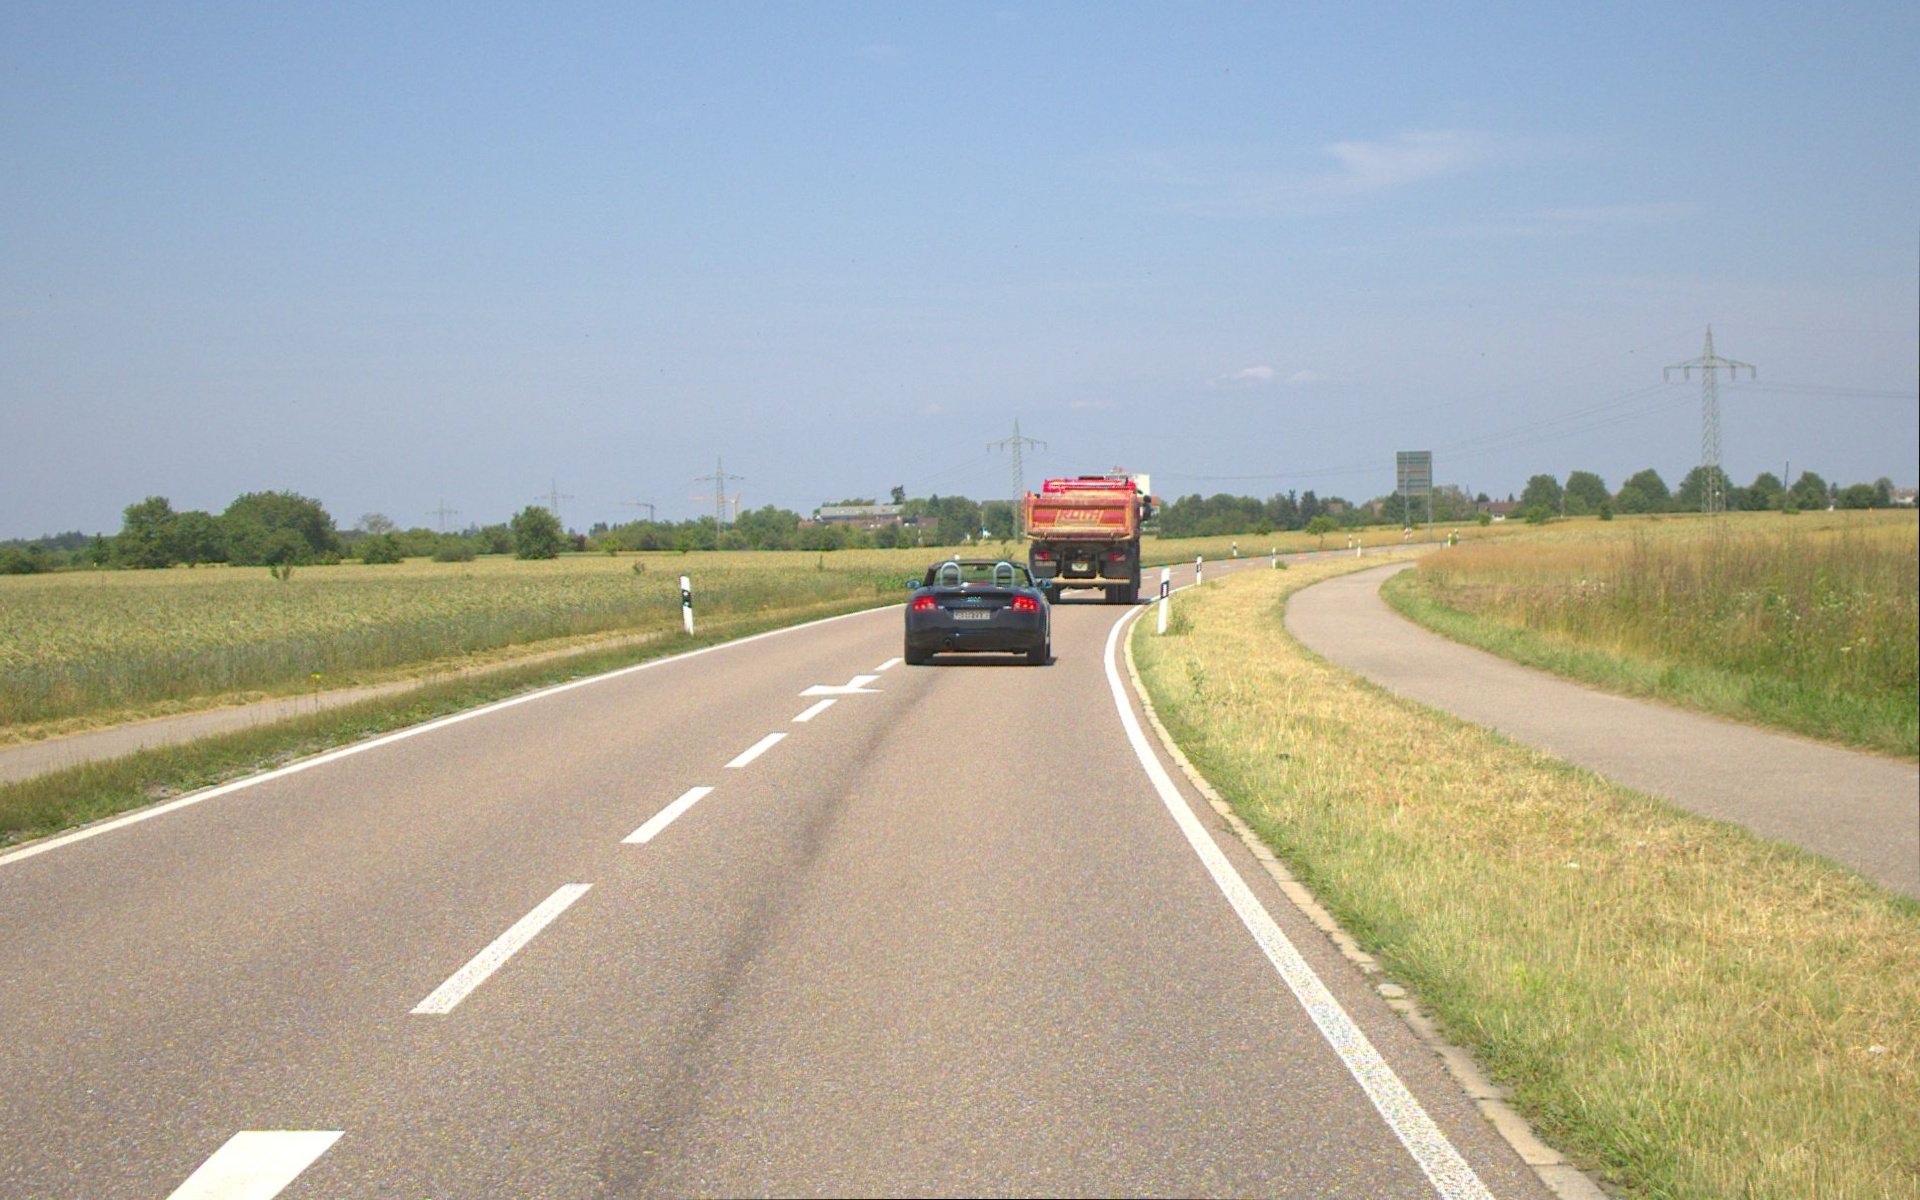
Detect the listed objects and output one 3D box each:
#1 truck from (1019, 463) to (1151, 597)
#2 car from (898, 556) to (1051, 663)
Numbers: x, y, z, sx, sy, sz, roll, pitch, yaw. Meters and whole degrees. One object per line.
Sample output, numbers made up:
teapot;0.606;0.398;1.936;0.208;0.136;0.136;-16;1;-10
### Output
truck;3.088;-1.642;83.092;2.938;3.078;7.195;0;1;4
car;0.222;0.087;43.084;1.744;1.275;4.000;0;1;3
